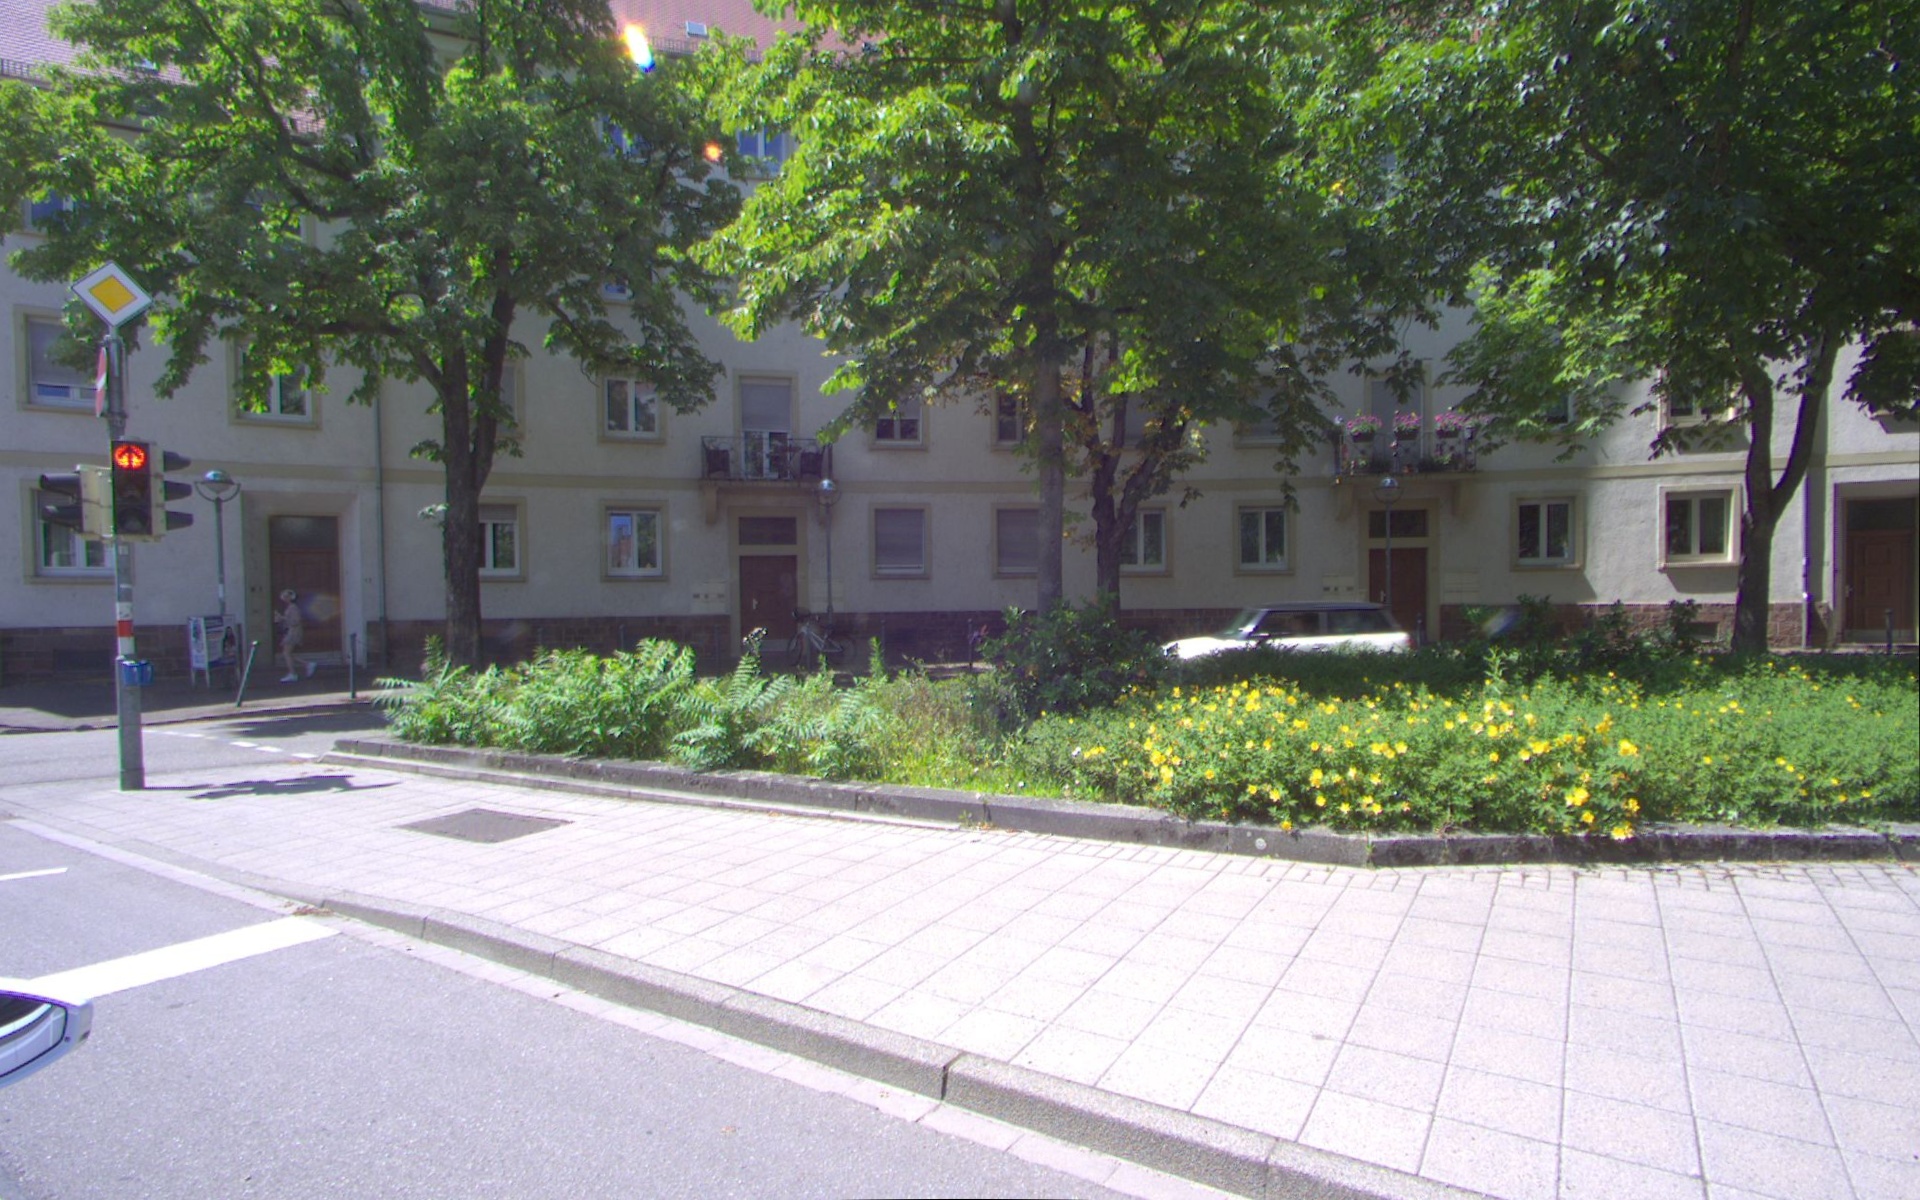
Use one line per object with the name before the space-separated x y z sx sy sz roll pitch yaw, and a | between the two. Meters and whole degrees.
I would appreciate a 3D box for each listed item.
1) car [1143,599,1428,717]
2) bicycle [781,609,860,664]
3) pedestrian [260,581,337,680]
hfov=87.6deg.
car | 4.476 0.766 14.233 3.581 1.526 1.705 0 0 7
bicycle | -2.890 0.753 20.869 1.575 1.119 0.525 -1 1 -4
pedestrian | -12.289 0.546 18.644 1.042 1.715 0.649 -5 7 -31
